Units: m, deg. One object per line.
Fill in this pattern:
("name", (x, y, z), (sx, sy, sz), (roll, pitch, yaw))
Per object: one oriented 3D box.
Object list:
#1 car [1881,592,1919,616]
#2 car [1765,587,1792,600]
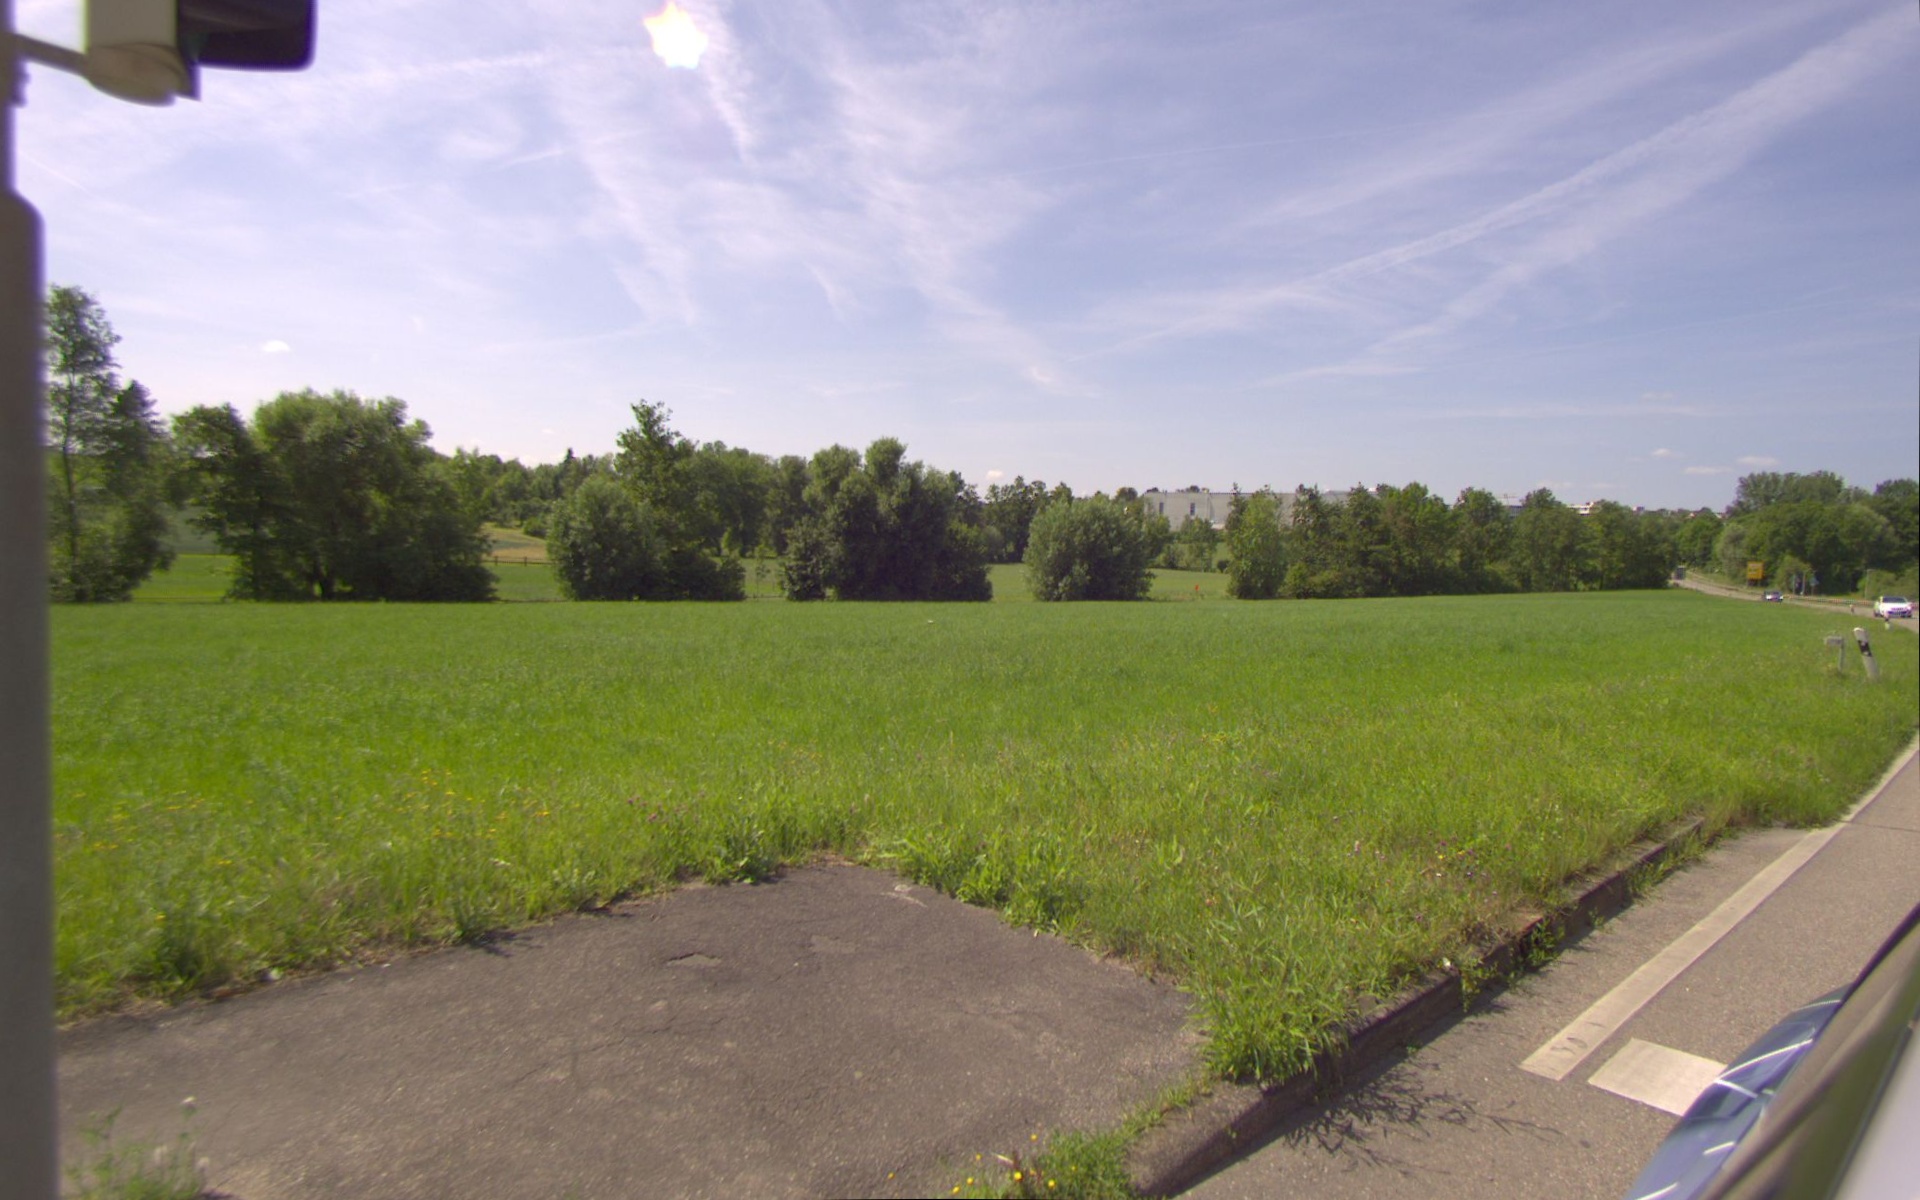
("car", (65.830, 0.272, 70.470), (1.988, 1.605, 3.949), (1, 1, 35))
("car", (101.964, -0.821, 126.091), (1.983, 1.605, 3.957), (0, 1, 30))
